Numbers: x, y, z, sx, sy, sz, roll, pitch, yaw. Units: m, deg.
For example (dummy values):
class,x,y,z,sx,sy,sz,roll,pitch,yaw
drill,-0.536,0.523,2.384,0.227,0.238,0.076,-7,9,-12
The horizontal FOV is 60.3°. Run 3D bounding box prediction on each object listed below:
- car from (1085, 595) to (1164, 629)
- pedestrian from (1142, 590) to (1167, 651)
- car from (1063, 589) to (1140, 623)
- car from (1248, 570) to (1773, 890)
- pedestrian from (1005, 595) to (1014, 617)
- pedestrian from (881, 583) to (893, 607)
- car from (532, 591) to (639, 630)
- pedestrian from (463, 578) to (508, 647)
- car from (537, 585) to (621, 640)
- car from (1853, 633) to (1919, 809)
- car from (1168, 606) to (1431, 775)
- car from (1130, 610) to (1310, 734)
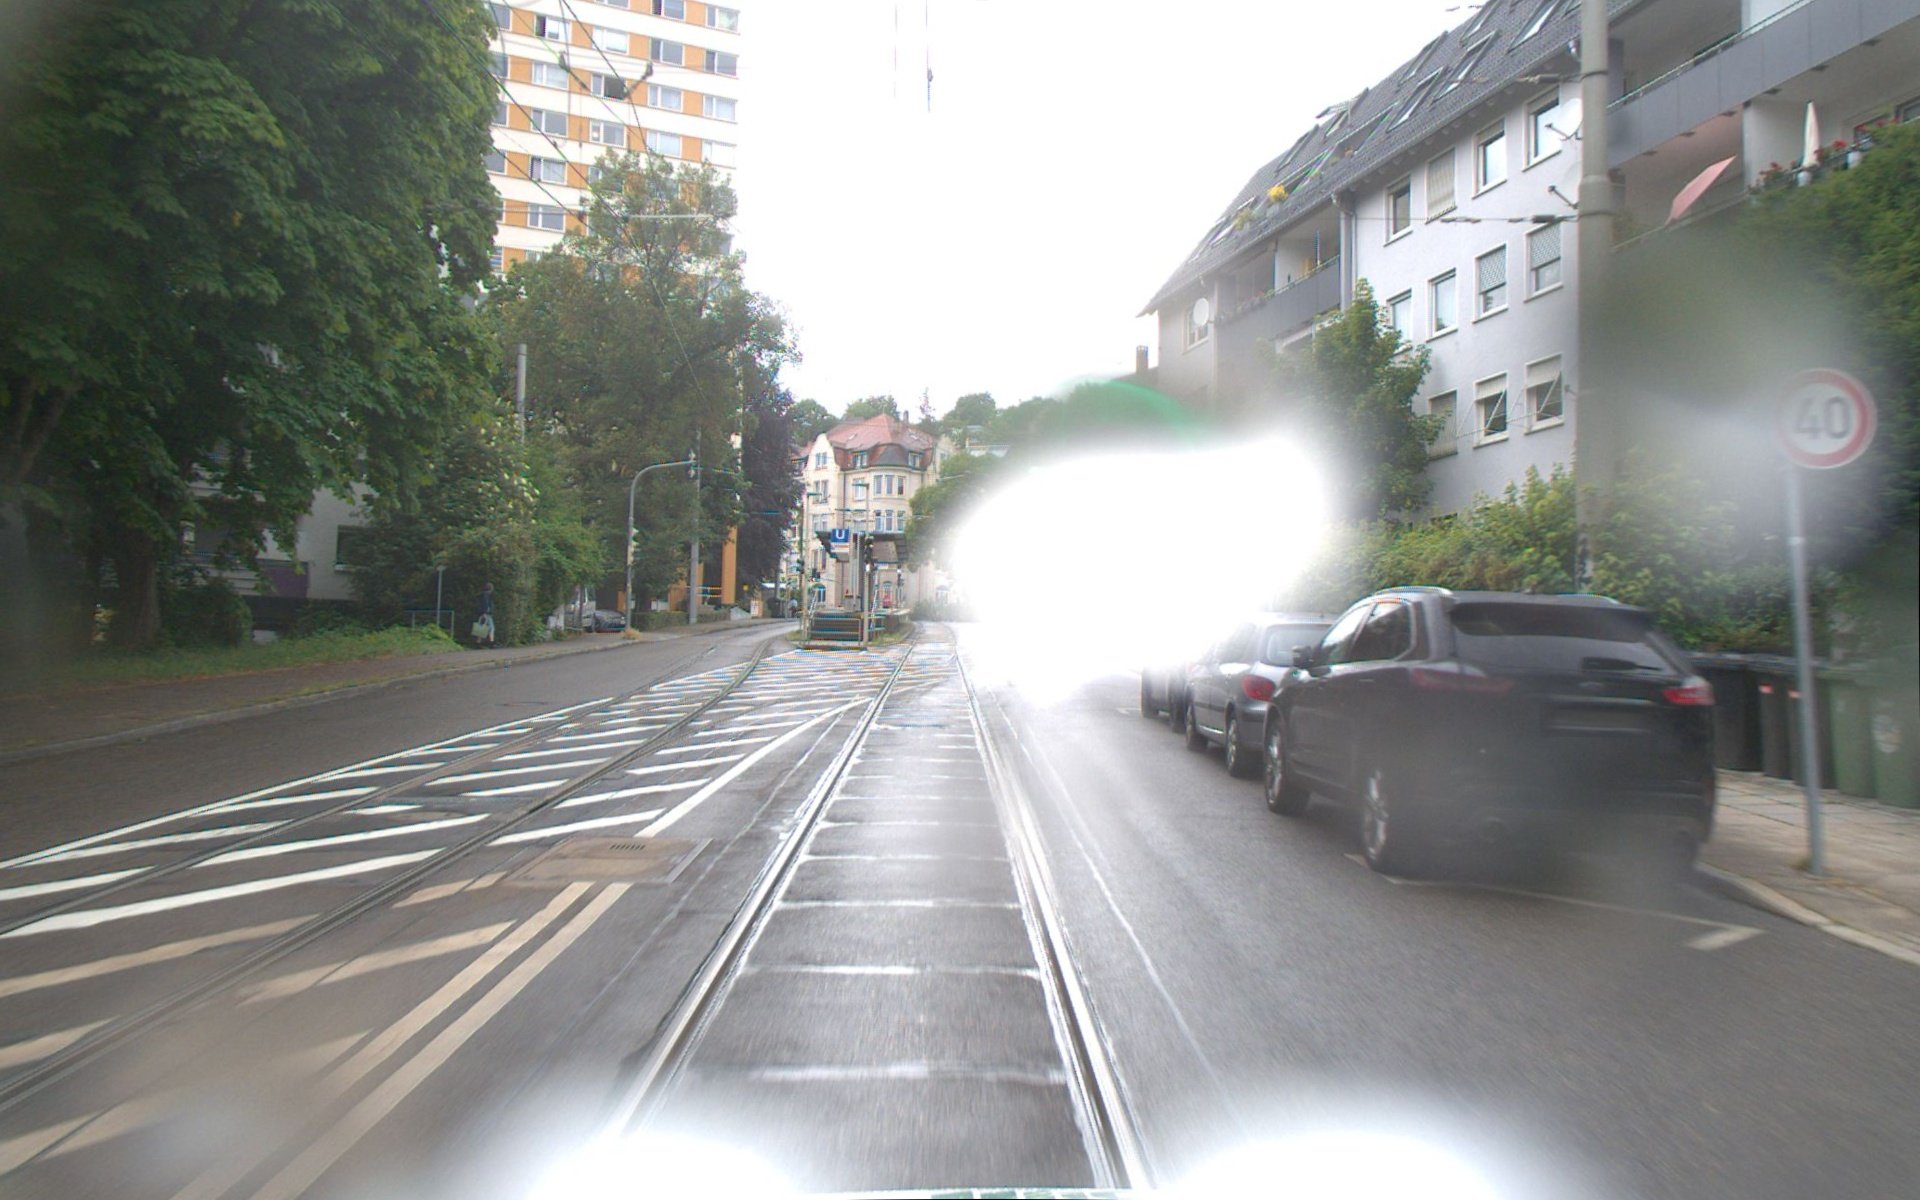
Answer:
class,x,y,z,sx,sy,sz,roll,pitch,yaw
car,8.352,0.614,84.284,3.765,1.570,1.806,1,-2,-3
pedestrian,5.303,0.567,45.048,0.631,1.657,0.699,1,-2,3
car,7.492,0.314,87.960,3.906,1.674,1.807,1,-2,-2
car,3.383,0.713,11.262,1.868,1.670,4.688,2,0,-2
pedestrian,3.421,0.419,114.455,0.567,1.492,0.543,2,-4,-9
pedestrian,-4.715,-0.325,106.803,0.644,1.492,0.772,1,-4,2
car,-15.081,0.432,66.634,3.905,1.431,1.682,0,-4,22
pedestrian,-12.300,0.336,42.874,0.906,1.707,0.732,4,-5,-32
car,-13.712,0.496,59.784,1.952,1.714,4.000,1,-4,2
car,9.309,1.013,13.507,1.685,1.541,4.201,1,-4,-1
car,3.308,0.821,16.908,1.670,1.453,4.249,2,0,-2
car,3.380,0.898,22.134,1.670,1.451,3.861,2,0,-2
